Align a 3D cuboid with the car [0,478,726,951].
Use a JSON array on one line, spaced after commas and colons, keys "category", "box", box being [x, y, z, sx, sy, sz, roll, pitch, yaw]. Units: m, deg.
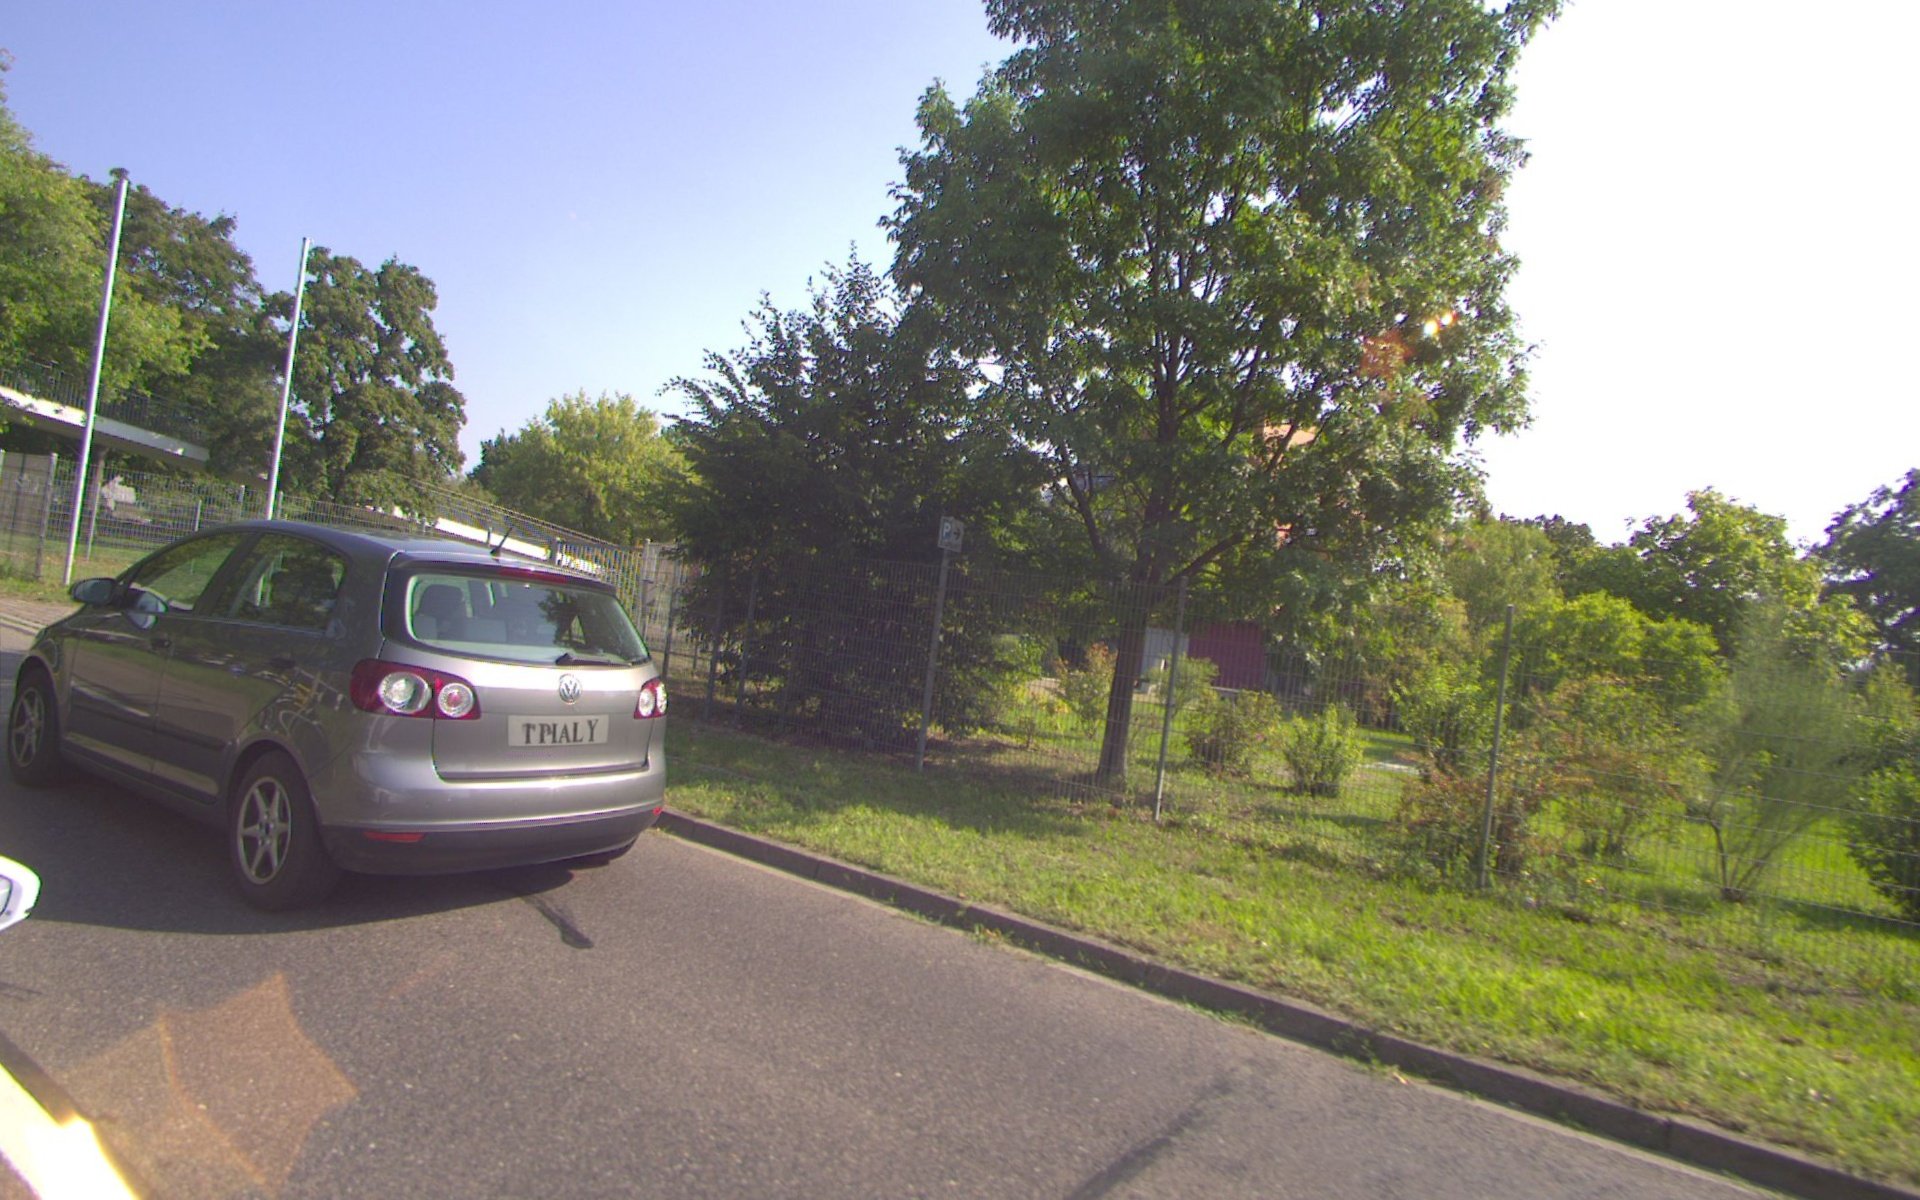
[{"category": "car", "box": [-3.316, 0.377, 5.298, 3.833, 1.574, 1.649, 6, -2, 31]}]
